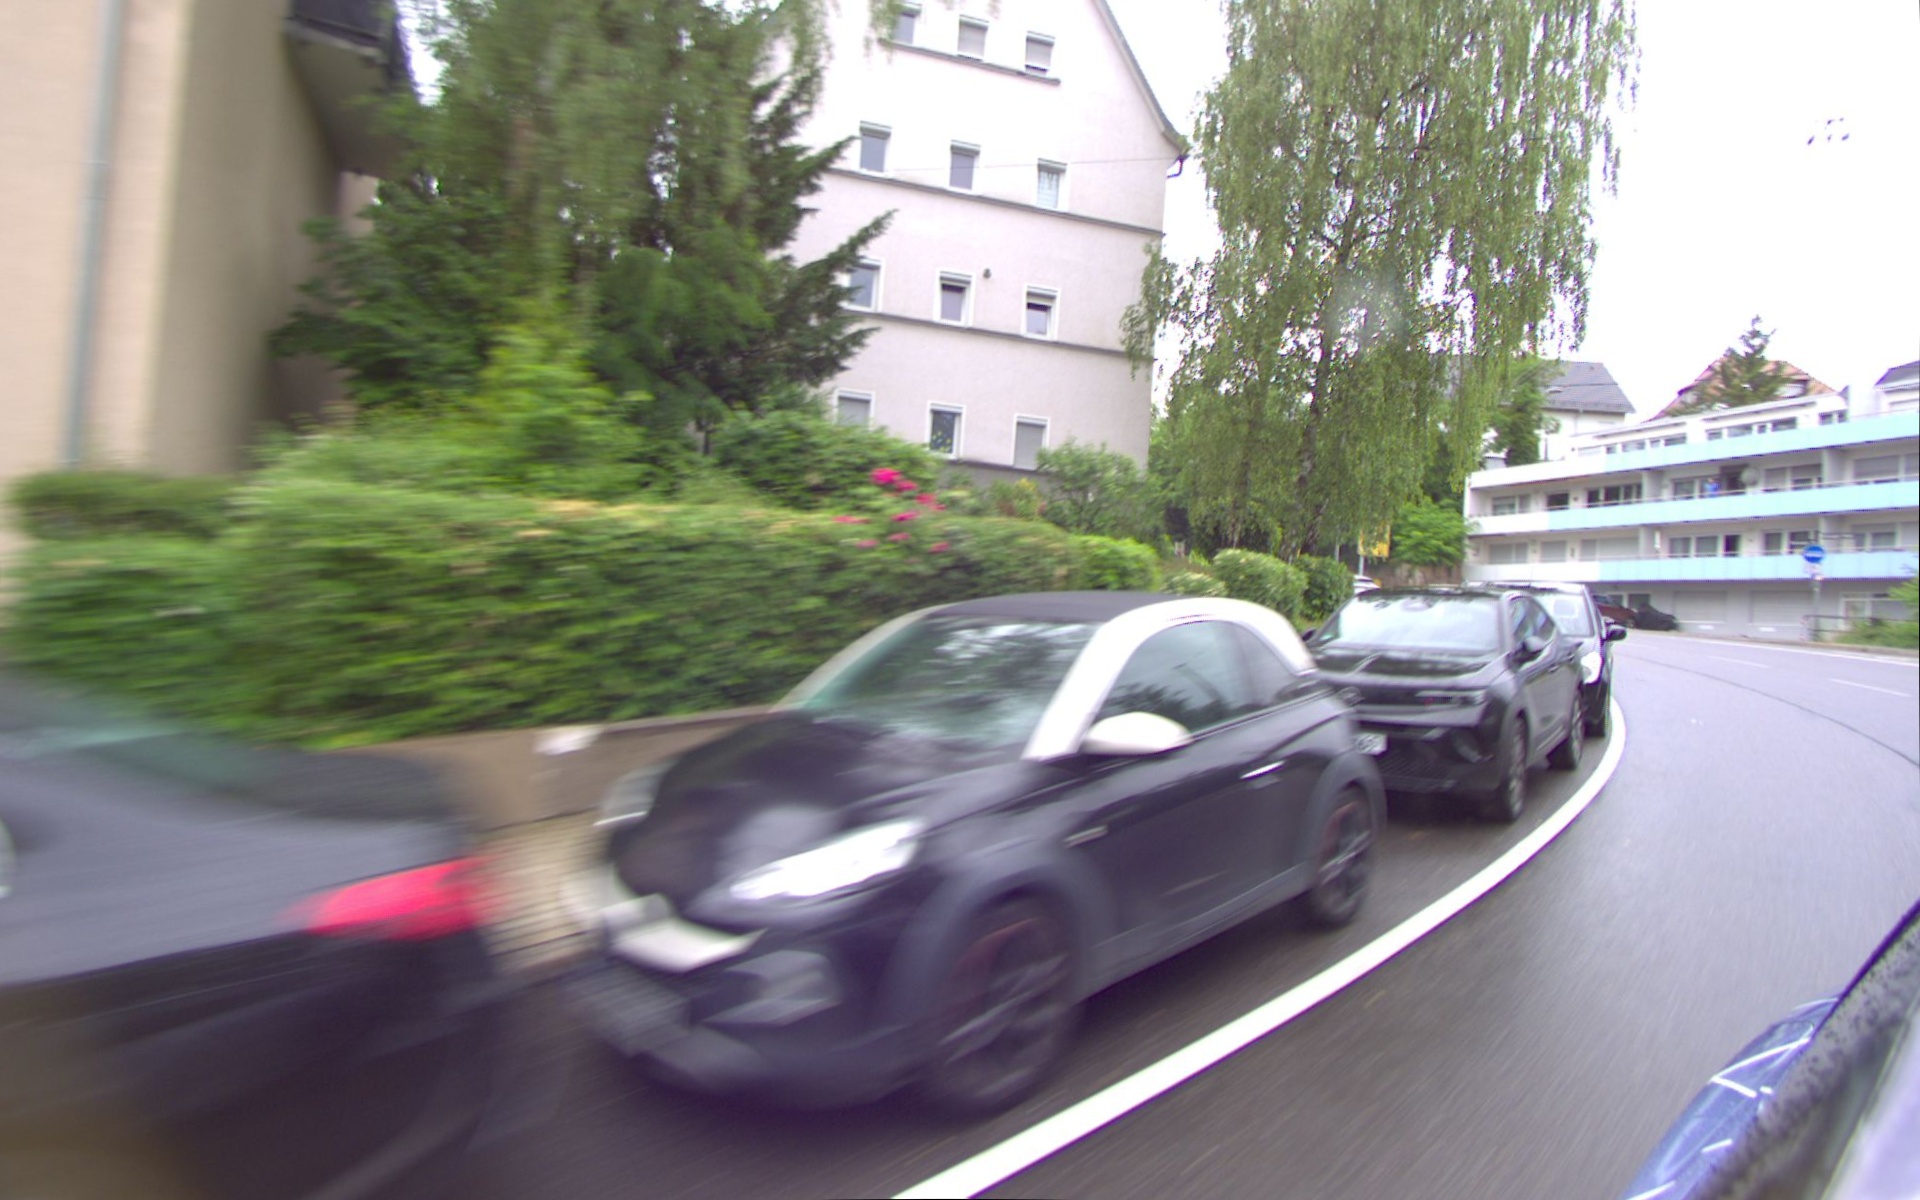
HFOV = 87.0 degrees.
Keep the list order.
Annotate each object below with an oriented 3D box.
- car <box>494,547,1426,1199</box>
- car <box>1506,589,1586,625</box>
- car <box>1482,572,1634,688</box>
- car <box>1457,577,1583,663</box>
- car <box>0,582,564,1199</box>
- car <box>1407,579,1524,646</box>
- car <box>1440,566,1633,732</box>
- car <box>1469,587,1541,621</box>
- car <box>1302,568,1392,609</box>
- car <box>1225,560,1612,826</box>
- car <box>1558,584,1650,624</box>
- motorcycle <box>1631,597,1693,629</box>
[{"bbox_3d":[0.315,0.646,4.170,1.684,1.489,3.678,6,4,45],"label":"car"},{"bbox_3d":[30.177,0.339,52.154,3.369,1.462,1.712,6,0,-20],"label":"car"},{"bbox_3d":[9.357,0.368,16.122,1.716,1.482,3.993,5,3,27],"label":"car"},{"bbox_3d":[11.471,0.331,20.986,1.610,1.538,4.297,2,2,21],"label":"car"},{"bbox_3d":[-3.082,0.726,1.294,4.451,1.453,1.811,0,3,-40],"label":"car"},{"bbox_3d":[12.705,0.240,25.712,1.770,1.463,4.089,2,2,14],"label":"car"},{"bbox_3d":[6.835,0.456,11.833,1.615,1.523,3.561,5,3,34],"label":"car"},{"bbox_3d":[29.391,0.217,54.574,3.370,1.407,1.641,5,2,-25],"label":"car"},{"bbox_3d":[18.453,-0.595,48.485,1.793,1.626,4.297,4,2,-14],"label":"car"},{"bbox_3d":[3.794,0.521,7.966,1.714,1.452,4.010,6,4,39],"label":"car"},{"bbox_3d":[30.959,0.200,48.650,3.853,1.569,1.720,5,1,-23],"label":"car"},{"bbox_3d":[34.301,0.635,49.467,0.563,1.325,2.337,2,4,-36],"label":"motorcycle"}]
